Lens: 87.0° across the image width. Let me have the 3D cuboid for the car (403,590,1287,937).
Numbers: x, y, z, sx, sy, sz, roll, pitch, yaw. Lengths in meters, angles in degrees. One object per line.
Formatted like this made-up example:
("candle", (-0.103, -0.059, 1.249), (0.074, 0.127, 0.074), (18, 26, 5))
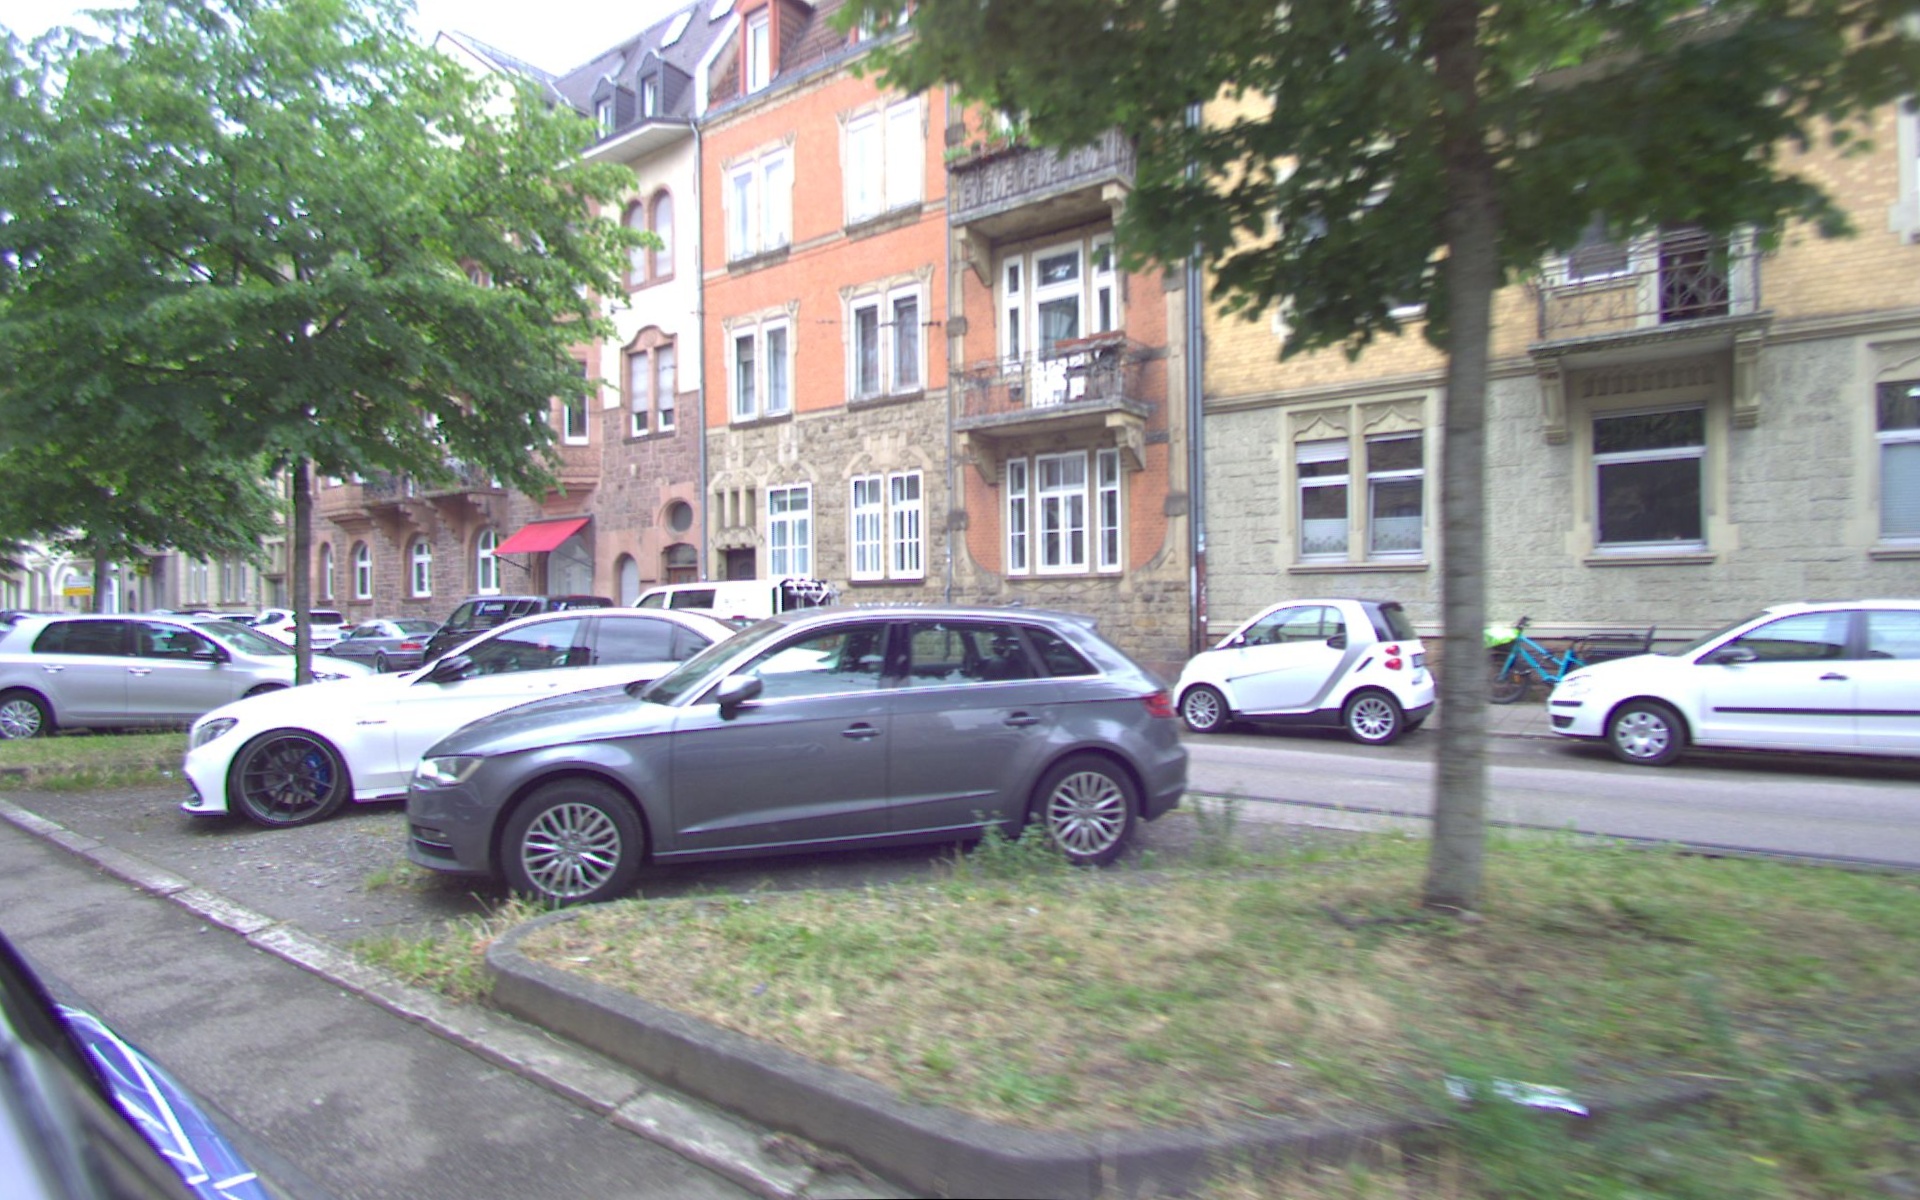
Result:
("car", (-0.570, 0.705, 5.803), (4.267, 1.446, 1.904), (-1, -1, -15))

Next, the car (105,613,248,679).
("car", (-19.653, 1.082, 25.316), (4.613, 1.515, 1.629), (-1, 0, 36))

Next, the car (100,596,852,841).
("car", (-3.260, 0.734, 7.669), (4.610, 1.446, 1.904), (-1, -1, -14))

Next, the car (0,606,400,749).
("car", (-9.216, 0.853, 12.130), (4.049, 1.495, 1.802), (-1, 0, -13))

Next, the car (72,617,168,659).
("car", (-31.259, 1.370, 37.623), (4.221, 1.449, 1.789), (-1, 0, 36))

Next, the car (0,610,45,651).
("car", (-45.525, 1.428, 48.388), (4.423, 1.885, 1.834), (-1, -1, 37))

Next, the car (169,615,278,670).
("car", (-22.745, 1.259, 31.219), (3.715, 1.571, 1.647), (-1, 0, 36))

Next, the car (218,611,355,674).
("car", (-18.895, 1.128, 28.321), (4.545, 1.639, 1.725), (-1, 0, 36))

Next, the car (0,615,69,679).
("car", (-23.024, 1.071, 22.477), (4.592, 1.378, 1.762), (-1, 0, -11))

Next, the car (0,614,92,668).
("car", (-29.857, 1.270, 32.683), (4.537, 1.591, 1.789), (-1, 0, 36))

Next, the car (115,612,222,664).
("car", (-26.736, 1.240, 34.146), (4.312, 1.641, 1.753), (-1, 0, 36))

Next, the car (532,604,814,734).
("car", (-3.934, 0.823, 13.655), (3.875, 1.515, 1.629), (-1, 0, 36))

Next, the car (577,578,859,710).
("car", (-4.259, 0.677, 17.381), (5.083, 1.967, 1.864), (-1, 0, 36))

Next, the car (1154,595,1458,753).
("car", (3.921, 0.747, 11.540), (2.944, 1.562, 1.620), (-1, -1, 35))

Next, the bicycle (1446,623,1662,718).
("bicycle", (7.370, 0.841, 12.627), (2.254, 1.081, 0.705), (-1, 0, 35))

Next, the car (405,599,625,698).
("car", (-9.159, 0.897, 20.631), (5.107, 1.795, 1.797), (-1, 0, 36))

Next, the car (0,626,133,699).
("car", (-17.636, 1.132, 18.244), (3.899, 1.211, 1.672), (-1, 0, -10))

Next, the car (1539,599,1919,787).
("car", (7.413, 0.732, 8.880), (3.914, 1.454, 1.620), (-1, 0, 35))

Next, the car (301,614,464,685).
("car", (-14.038, 1.122, 24.511), (4.545, 1.553, 1.725), (-1, 0, 36))
